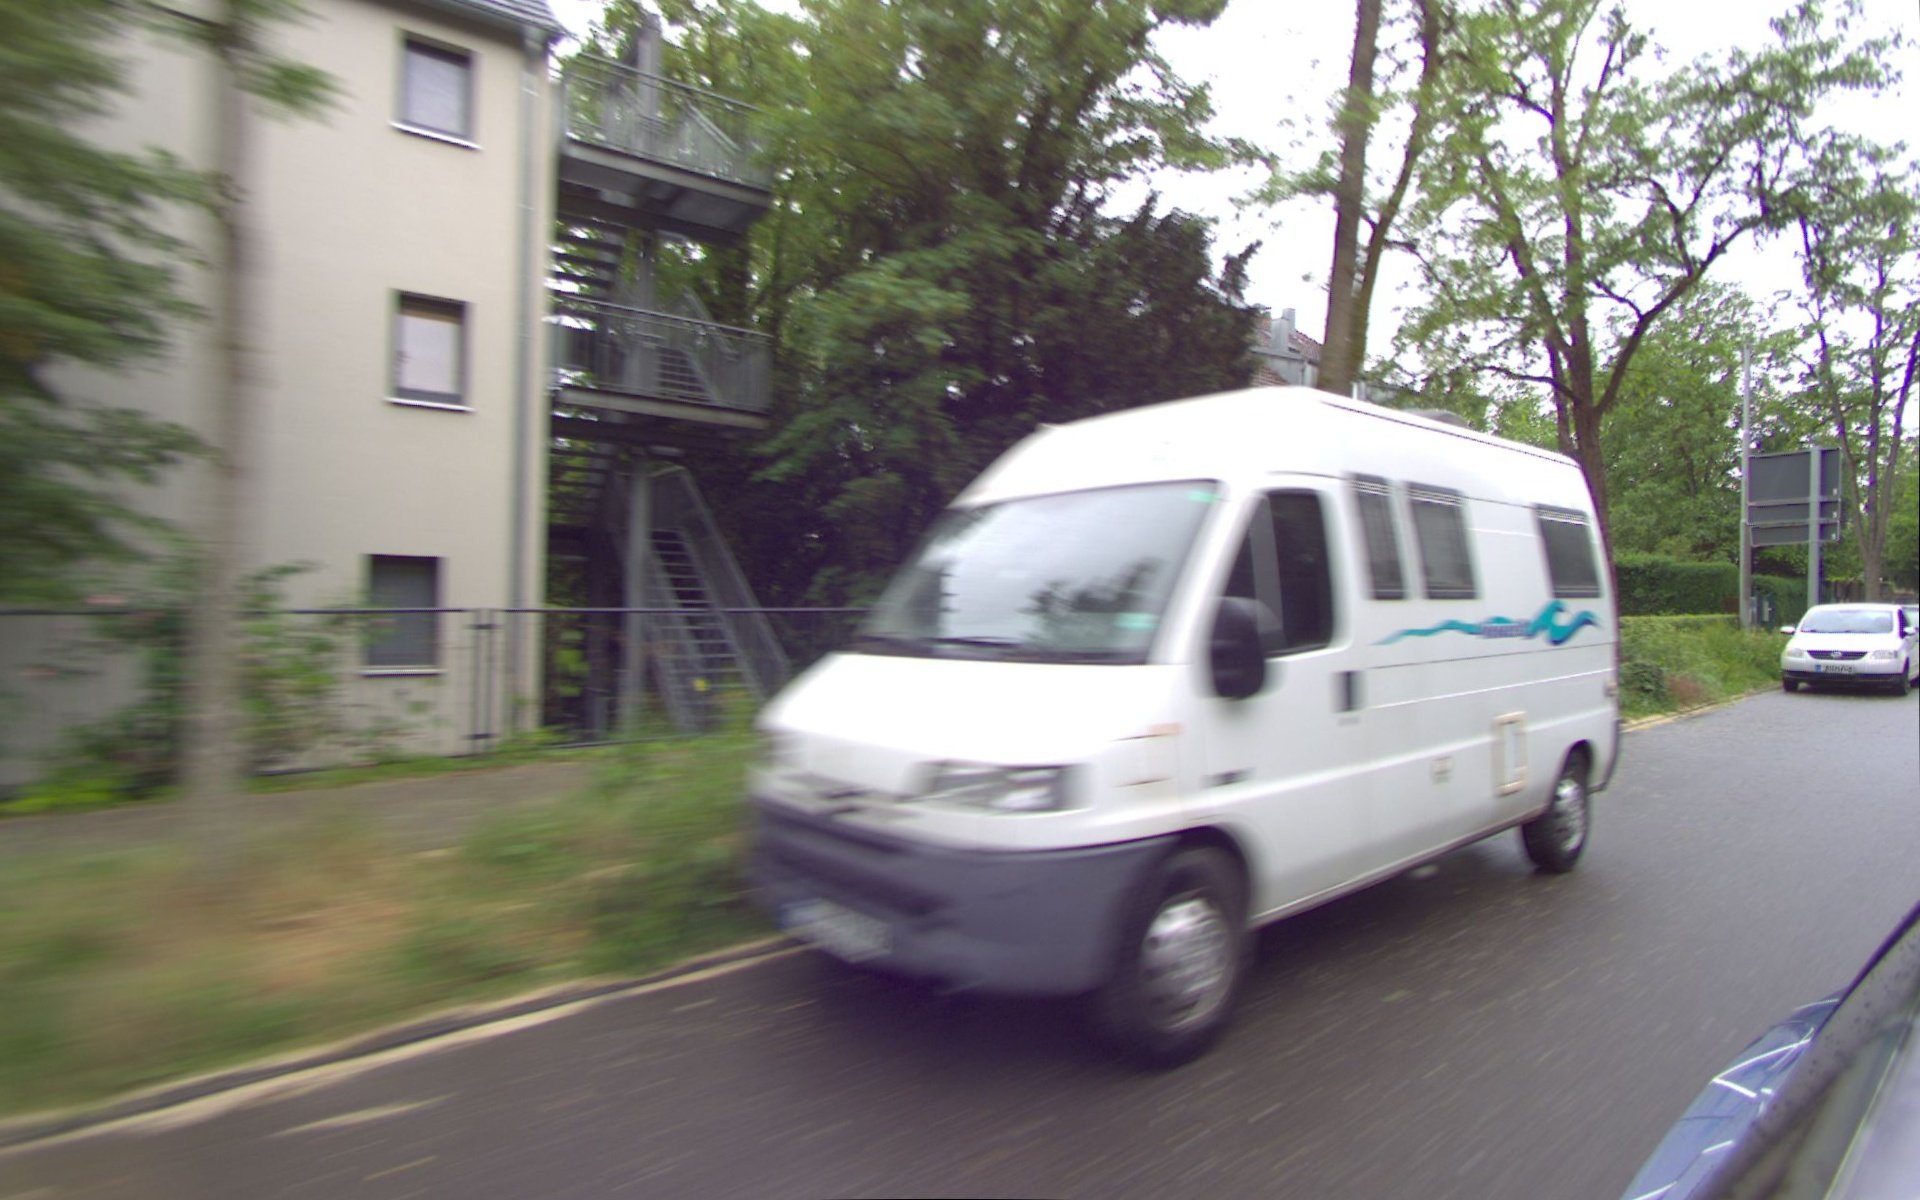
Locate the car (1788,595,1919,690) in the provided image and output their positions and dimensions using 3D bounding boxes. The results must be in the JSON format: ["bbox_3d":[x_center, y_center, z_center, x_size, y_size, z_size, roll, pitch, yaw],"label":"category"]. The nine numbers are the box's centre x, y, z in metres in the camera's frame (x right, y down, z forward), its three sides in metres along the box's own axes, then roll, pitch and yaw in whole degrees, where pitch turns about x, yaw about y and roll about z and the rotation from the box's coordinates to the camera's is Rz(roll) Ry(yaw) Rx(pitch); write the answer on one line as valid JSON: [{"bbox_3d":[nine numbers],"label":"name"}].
[{"bbox_3d":[15.915,0.676,17.694,3.699,1.491,1.574,0,-1,-41],"label":"car"}]

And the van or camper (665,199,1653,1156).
[{"bbox_3d":[1.531,0.205,5.264,5.540,2.511,2.040,0,-2,-41],"label":"van or camper"}]

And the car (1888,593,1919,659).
[{"bbox_3d":[24.478,0.589,24.959,4.738,1.546,1.756,0,-1,-41],"label":"car"}]

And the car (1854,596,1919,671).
[{"bbox_3d":[20.381,0.657,21.397,3.873,1.489,1.620,0,-1,-40],"label":"car"}]
